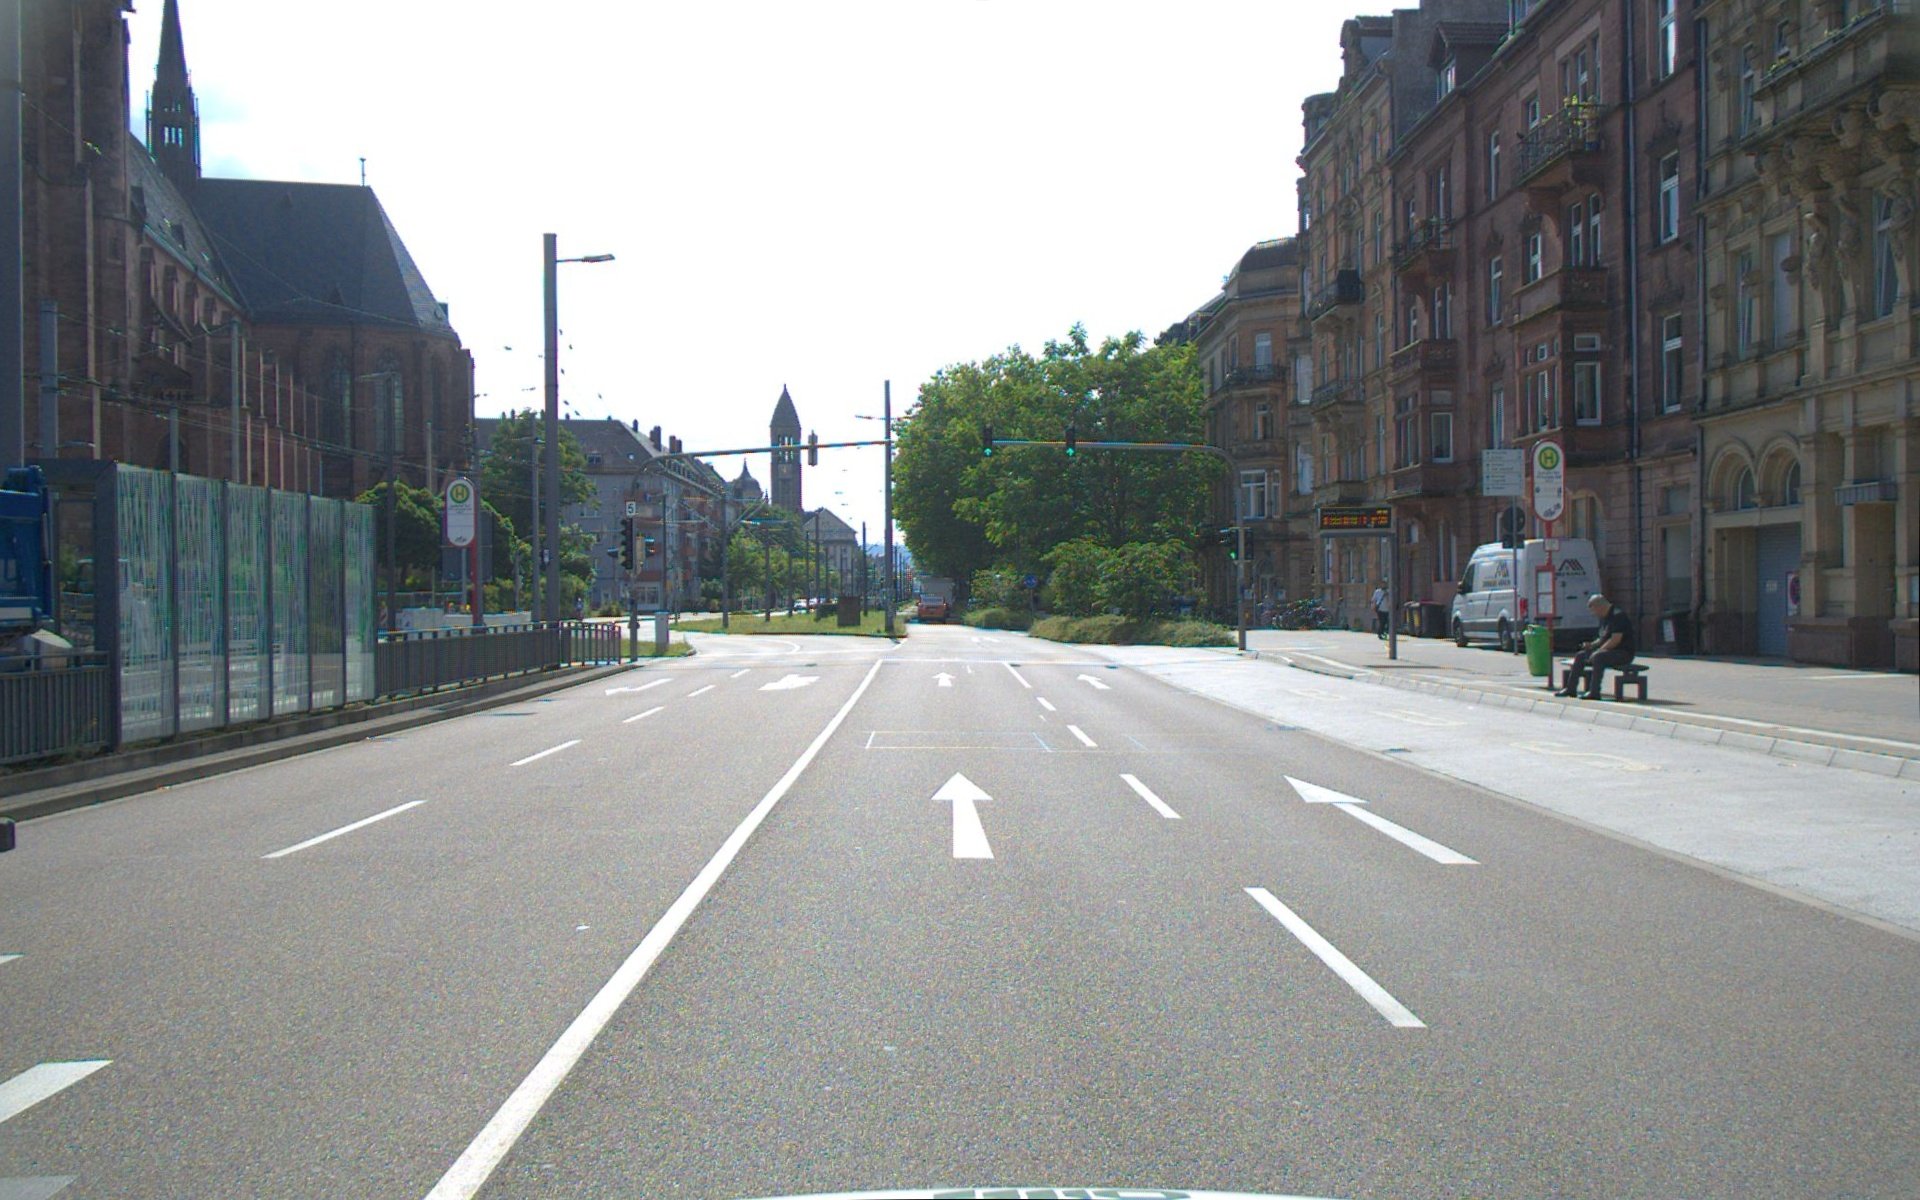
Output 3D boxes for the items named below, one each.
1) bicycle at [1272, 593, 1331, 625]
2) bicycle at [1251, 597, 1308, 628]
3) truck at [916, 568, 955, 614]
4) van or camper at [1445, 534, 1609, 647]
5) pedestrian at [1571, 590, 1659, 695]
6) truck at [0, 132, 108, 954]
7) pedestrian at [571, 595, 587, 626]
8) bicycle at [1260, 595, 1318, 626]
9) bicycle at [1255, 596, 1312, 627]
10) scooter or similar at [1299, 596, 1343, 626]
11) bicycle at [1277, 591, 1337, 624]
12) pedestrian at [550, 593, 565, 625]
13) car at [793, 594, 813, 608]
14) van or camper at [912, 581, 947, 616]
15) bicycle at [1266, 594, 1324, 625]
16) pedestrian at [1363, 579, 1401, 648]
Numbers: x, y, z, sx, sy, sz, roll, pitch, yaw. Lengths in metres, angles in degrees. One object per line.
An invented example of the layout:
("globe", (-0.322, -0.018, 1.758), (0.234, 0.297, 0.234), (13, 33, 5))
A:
("bicycle", (13.312, 0.331, 64.557), (2.147, 1.201, 0.683), (-1, 0, -6))
("bicycle", (12.991, 0.494, 67.319), (2.147, 1.201, 0.683), (-1, 0, -6))
("truck", (-2.009, -0.688, 137.705), (3.105, 3.344, 7.294), (0, -3, 0))
("van or camper", (13.571, -0.221, 39.987), (1.953, 2.517, 5.564), (-1, 0, -1))
("pedestrian", (8.532, 0.544, 21.546), (0.737, 1.339, 0.810), (1, -1, -40))
("truck", (-5.510, -0.240, 4.636), (2.413, 3.712, 7.448), (-1, 0, -1))
("pedestrian", (-26.017, 0.697, 112.984), (0.789, 2.049, 0.915), (1, -4, -1))
("bicycle", (13.117, 0.410, 65.906), (2.147, 1.201, 0.683), (-1, 0, -6))
("bicycle", (13.024, 0.453, 66.640), (2.147, 1.201, 0.683), (-1, 0, -6))
("scooter or similar", (13.364, 0.406, 61.306), (1.533, 1.117, 0.451), (-1, 0, 3))
("bicycle", (13.396, 0.285, 63.794), (2.147, 1.201, 0.683), (-1, 0, -6))
("pedestrian", (-27.286, 0.615, 112.113), (0.789, 2.049, 0.915), (1, -4, -1))
("car", (-20.078, 0.135, 211.512), (1.952, 1.825, 4.001), (-1, 0, 2))
("van or camper", (-2.008, -0.082, 107.581), (1.970, 1.948, 4.517), (1, -4, -5))
("bicycle", (13.197, 0.368, 65.202), (2.147, 1.201, 0.683), (-1, 0, -6))
("pedestrian", (12.798, 0.402, 50.208), (0.868, 2.049, 0.996), (1, 0, -1))
